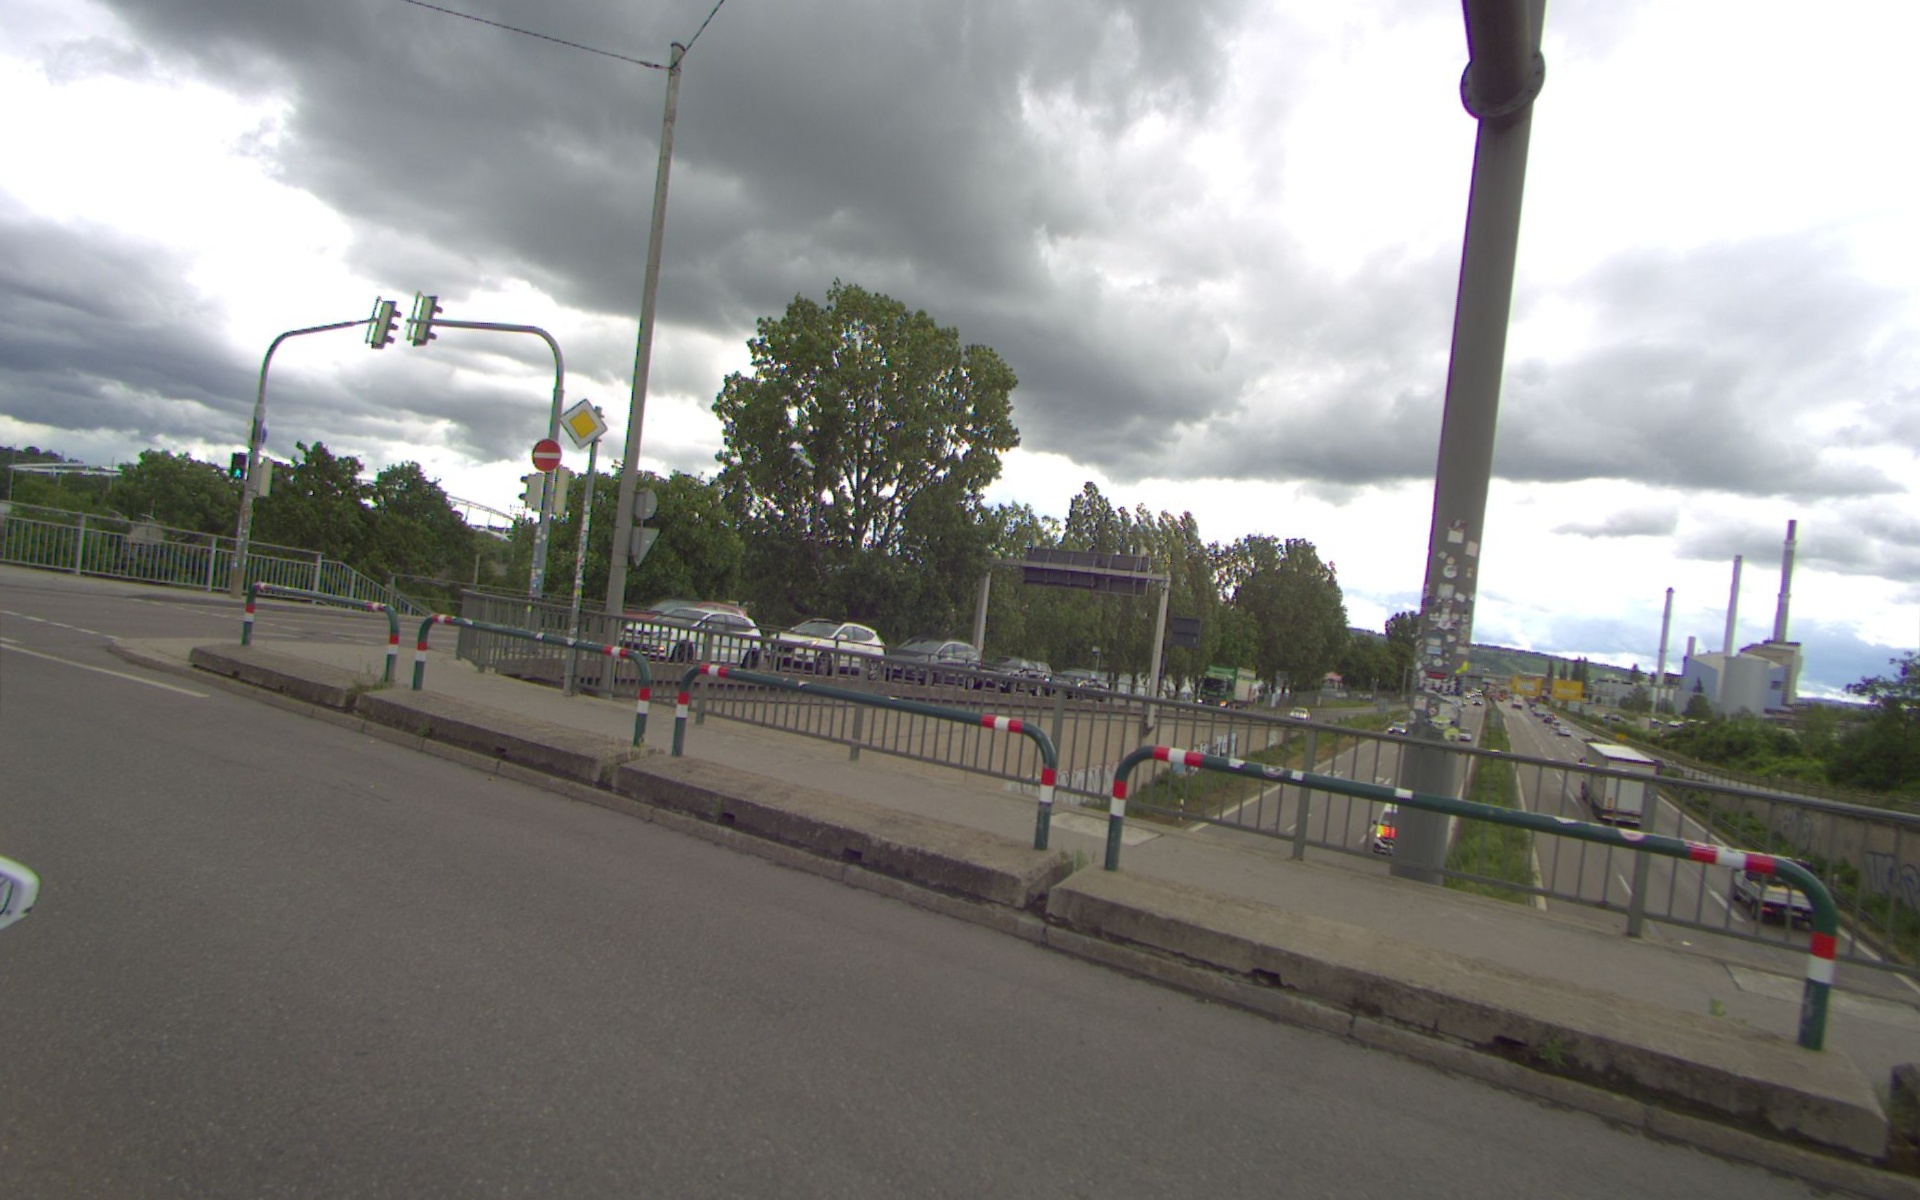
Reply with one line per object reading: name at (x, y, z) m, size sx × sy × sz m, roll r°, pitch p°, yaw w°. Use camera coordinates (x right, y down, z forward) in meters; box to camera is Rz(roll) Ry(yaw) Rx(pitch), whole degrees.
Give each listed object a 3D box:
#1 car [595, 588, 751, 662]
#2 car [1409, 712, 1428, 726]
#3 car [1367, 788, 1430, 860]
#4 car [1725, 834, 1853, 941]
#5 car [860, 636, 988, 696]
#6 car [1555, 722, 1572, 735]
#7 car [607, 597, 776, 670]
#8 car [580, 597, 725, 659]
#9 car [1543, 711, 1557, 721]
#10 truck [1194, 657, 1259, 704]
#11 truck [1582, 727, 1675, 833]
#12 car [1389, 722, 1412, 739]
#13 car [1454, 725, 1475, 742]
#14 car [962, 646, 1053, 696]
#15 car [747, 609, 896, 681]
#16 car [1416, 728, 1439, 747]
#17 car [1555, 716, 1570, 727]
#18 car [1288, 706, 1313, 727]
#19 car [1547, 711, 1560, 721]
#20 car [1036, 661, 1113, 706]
car at (-7.772, 0.735, 27.599) m, size 1.667 × 1.556 × 4.006 m, roll 5°, pitch -4°, yaw 29°
car at (64.582, 16.769, 141.709) m, size 1.966 × 1.725 × 4.077 m, roll 5°, pitch -3°, yaw 29°
car at (19.327, 9.778, 44.266) m, size 1.966 × 2.397 × 4.587 m, roll 5°, pitch -3°, yaw 29°
car at (32.041, 10.987, 39.167) m, size 2.875 × 2.527 × 7.265 m, roll 5°, pitch -3°, yaw 33°
car at (-1.128, 2.336, 34.795) m, size 1.967 × 1.637 × 4.959 m, roll 5°, pitch -4°, yaw 30°
car at (98.036, 20.901, 163.482) m, size 1.965 × 1.756 × 3.997 m, roll 5°, pitch -3°, yaw 26°
car at (-6.438, 0.864, 24.474) m, size 1.760 × 1.327 × 3.763 m, roll 5°, pitch -4°, yaw 29°
car at (-9.316, 0.903, 30.821) m, size 1.667 × 1.436 × 4.152 m, roll 5°, pitch -4°, yaw 28°
car at (123.178, 24.265, 210.040) m, size 1.965 × 1.756 × 3.997 m, roll 5°, pitch -3°, yaw 26°
truck at (23.163, 7.012, 87.110) m, size 2.735 × 3.552 × 9.243 m, roll 7°, pitch -1°, yaw 30°
truck at (42.701, 11.250, 64.717) m, size 3.527 × 4.545 × 13.146 m, roll 7°, pitch 2°, yaw 30°
car at (51.486, 15.201, 117.464) m, size 1.966 × 1.725 × 4.077 m, roll 5°, pitch -3°, yaw 29°
car at (61.232, 16.188, 122.016) m, size 1.966 × 1.725 × 4.077 m, roll 5°, pitch -3°, yaw 29°
car at (2.004, 2.936, 41.241) m, size 1.966 × 1.636 × 3.998 m, roll 5°, pitch -4°, yaw 30°
car at (-3.995, 1.390, 29.752) m, size 1.967 × 1.637 × 4.339 m, roll 5°, pitch -4°, yaw 30°
car at (52.388, 15.403, 112.762) m, size 1.966 × 1.725 × 4.077 m, roll 5°, pitch -3°, yaw 29°
car at (111.489, 22.440, 186.108) m, size 1.965 × 1.756 × 3.997 m, roll 5°, pitch -3°, yaw 26°
car at (37.727, 12.905, 111.378) m, size 1.965 × 1.691 × 3.764 m, roll 7°, pitch 2°, yaw 26°
car at (132.791, 26.018, 225.125) m, size 1.965 × 2.036 × 4.000 m, roll 5°, pitch -3°, yaw 26°
car at (5.425, 3.859, 47.272) m, size 1.966 × 1.640 × 3.988 m, roll 7°, pitch 3°, yaw 30°
